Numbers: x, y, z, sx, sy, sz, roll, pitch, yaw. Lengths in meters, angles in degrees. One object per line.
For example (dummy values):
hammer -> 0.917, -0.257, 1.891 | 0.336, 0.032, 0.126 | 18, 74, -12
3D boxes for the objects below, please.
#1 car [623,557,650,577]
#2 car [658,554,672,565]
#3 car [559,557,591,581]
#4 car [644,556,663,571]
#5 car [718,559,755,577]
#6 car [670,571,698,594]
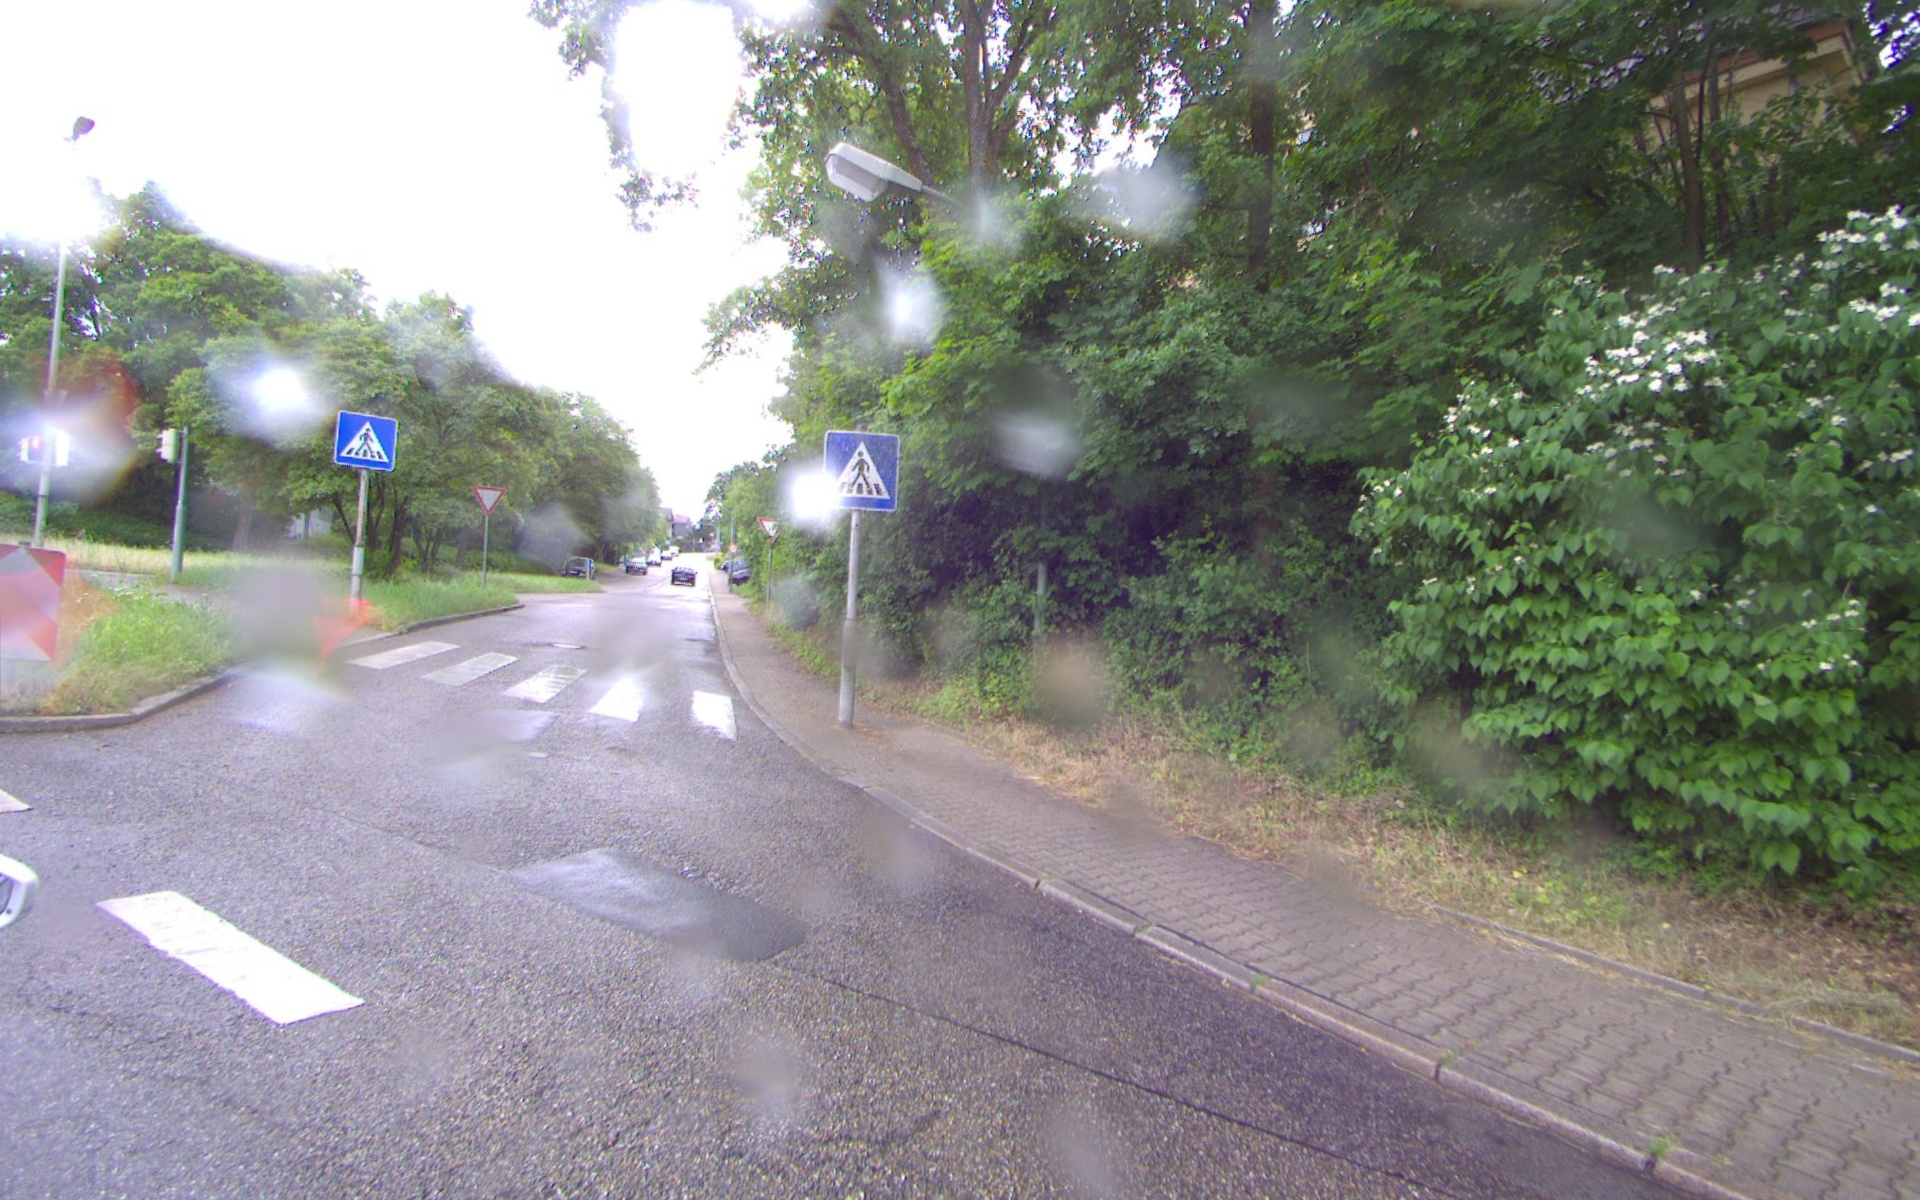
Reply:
car -> -30.104, -3.016, 93.729 | 1.874, 1.467, 4.285 | 7, -2, -13
car -> -46.777, -6.432, 159.508 | 1.877, 1.413, 4.151 | 7, -2, -20
car -> -25.886, -2.078, 67.733 | 1.651, 1.387, 3.477 | 6, 0, -16
car -> -37.710, -4.417, 123.643 | 1.968, 1.463, 4.278 | 7, -2, -19
car -> -25.771, -3.681, 116.091 | 3.939, 1.594, 1.766 | 5, 1, -18
car -> -21.036, -1.361, 76.713 | 1.789, 1.461, 4.148 | 6, 1, -14
